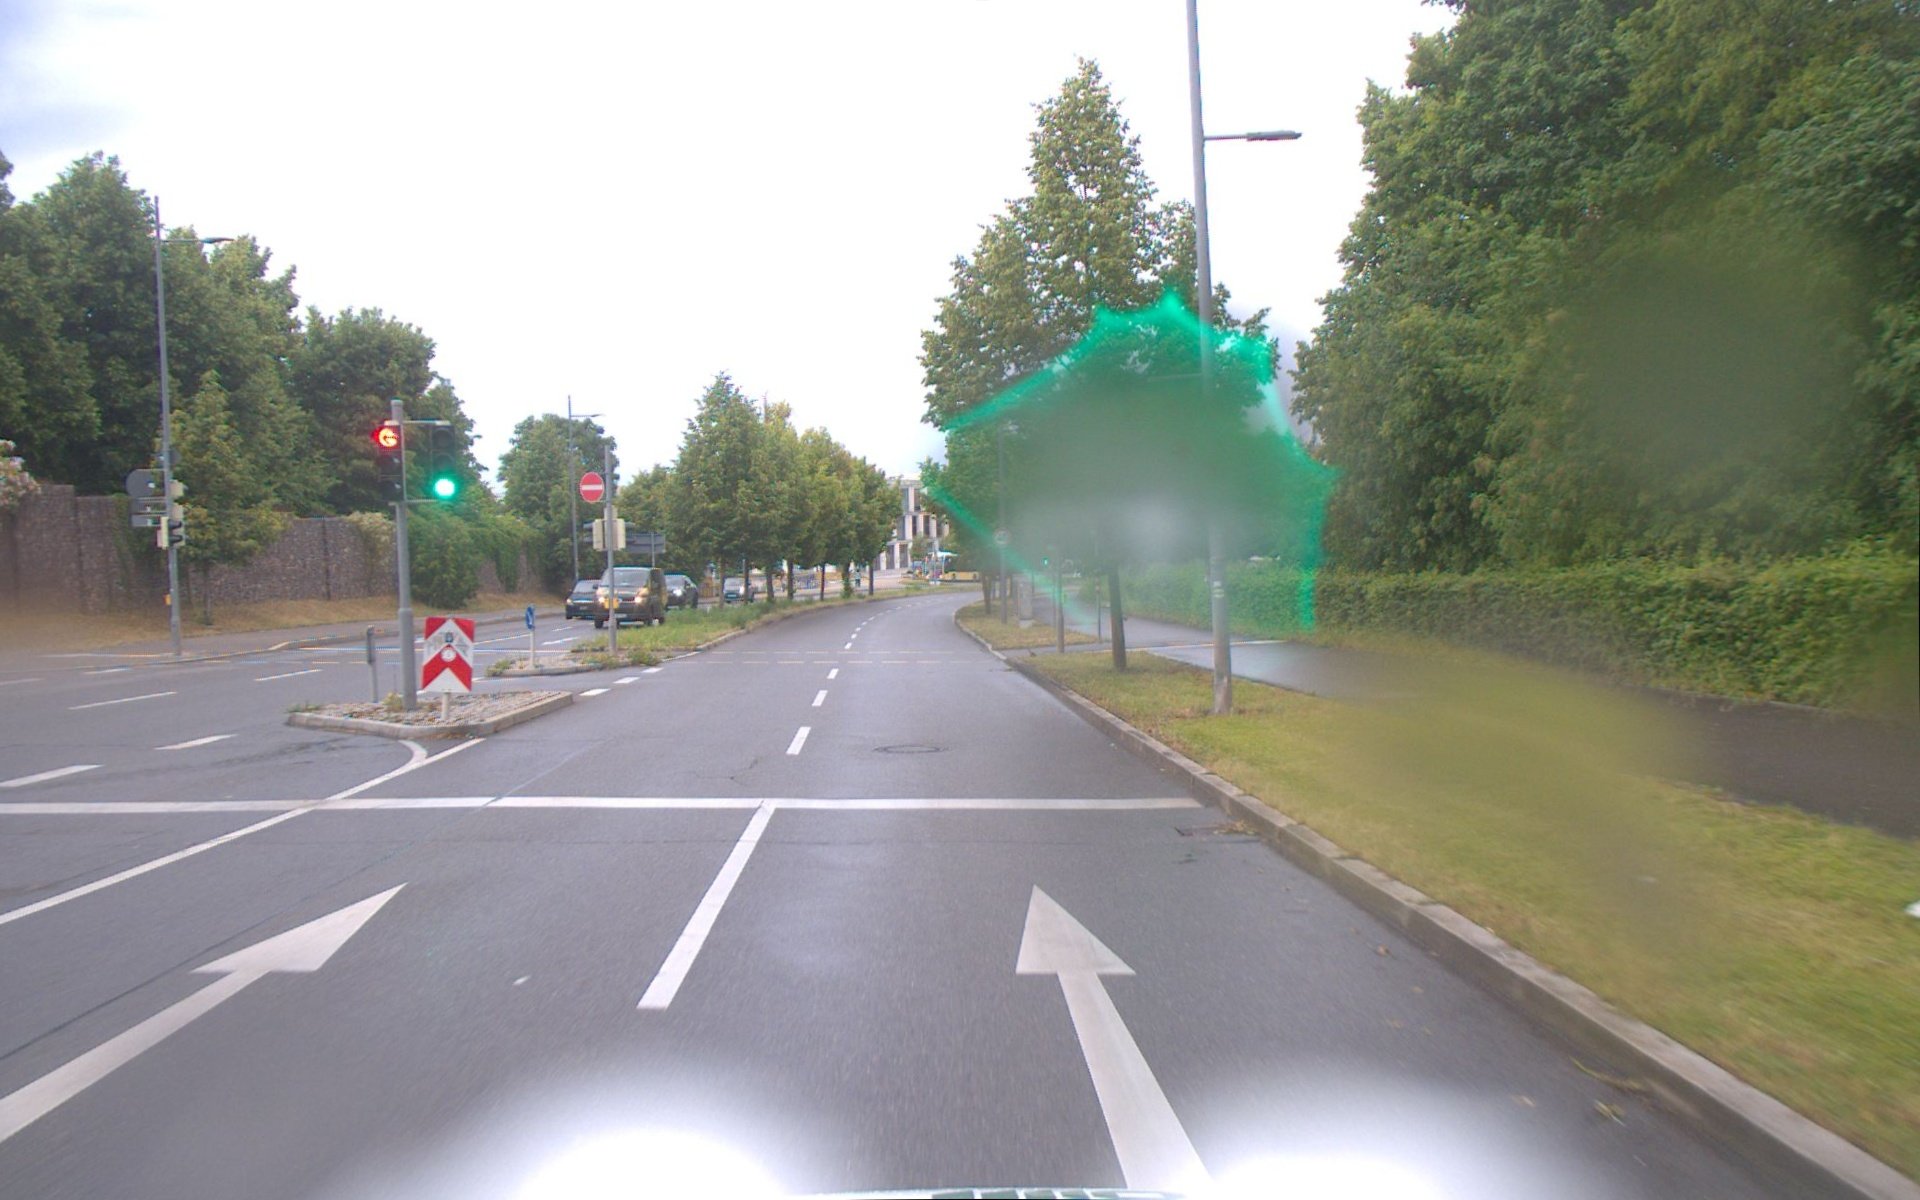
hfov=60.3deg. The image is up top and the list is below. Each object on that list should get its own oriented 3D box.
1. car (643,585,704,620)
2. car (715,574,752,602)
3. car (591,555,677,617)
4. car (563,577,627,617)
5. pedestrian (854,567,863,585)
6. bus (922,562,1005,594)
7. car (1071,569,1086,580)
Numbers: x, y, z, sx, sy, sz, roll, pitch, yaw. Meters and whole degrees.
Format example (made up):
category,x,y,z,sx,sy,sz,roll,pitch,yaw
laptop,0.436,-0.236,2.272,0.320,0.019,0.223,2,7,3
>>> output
category,x,y,z,sx,sy,sz,roll,pitch,yaw
car,-13.845,0.103,80.168,1.841,1.623,4.769,1,0,4
car,-13.346,-0.709,97.681,1.651,1.566,2.917,0,1,3
car,-10.863,-0.466,55.459,1.973,1.952,5.094,0,0,-1
car,-14.042,-0.127,63.819,1.565,1.515,4.000,0,0,0
pedestrian,-9.422,-2.212,153.243,0.818,1.601,0.718,0,-1,-7
bus,0.615,-2.568,198.161,2.729,3.416,18.213,0,0,25
car,16.960,-3.673,237.030,1.448,1.520,2.529,0,0,23
